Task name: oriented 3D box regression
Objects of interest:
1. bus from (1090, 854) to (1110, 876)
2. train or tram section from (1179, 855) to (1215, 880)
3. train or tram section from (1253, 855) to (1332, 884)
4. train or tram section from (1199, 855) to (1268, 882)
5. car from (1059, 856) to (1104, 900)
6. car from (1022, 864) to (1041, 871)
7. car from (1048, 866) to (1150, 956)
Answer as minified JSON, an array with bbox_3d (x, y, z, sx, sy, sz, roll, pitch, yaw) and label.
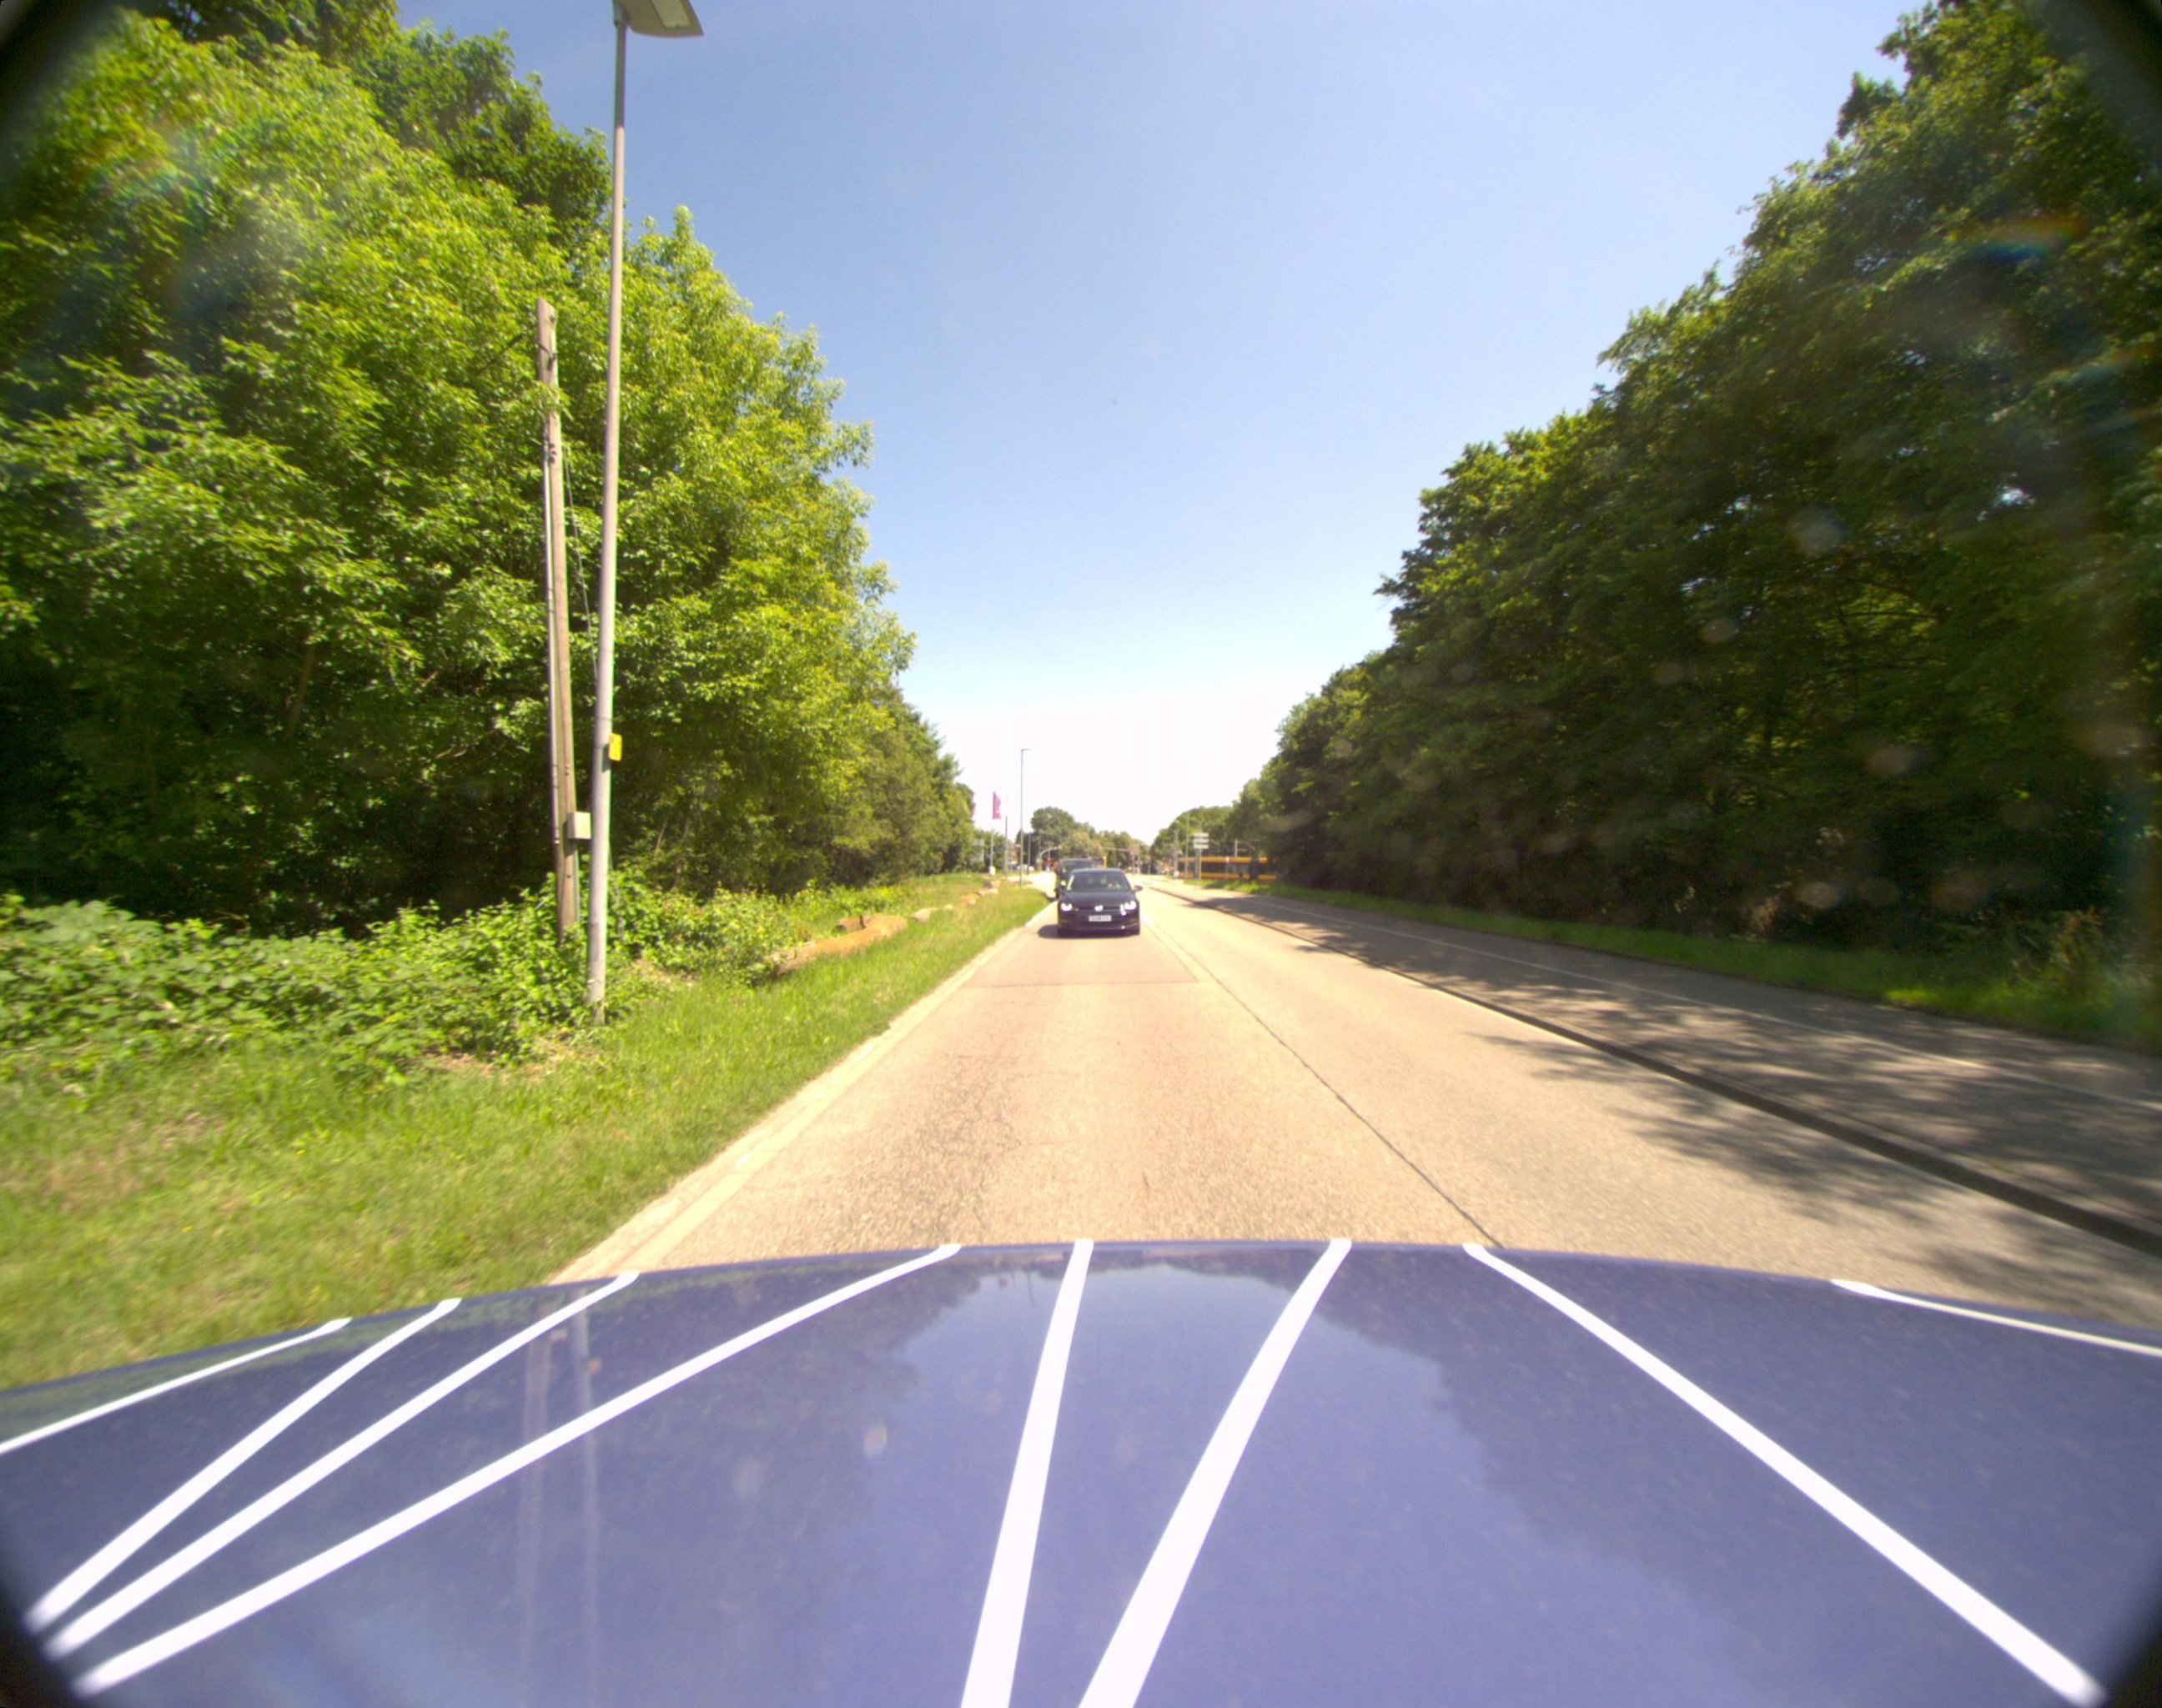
[{"bbox_3d":[2.939,1.728,117.459,2.931,3.247,8.331,1,-1,1],"label":"bus"},{"bbox_3d":[17.160,1.988,113.181,2.579,3.445,10.849,1,-1,-7],"label":"train or tram section"},{"bbox_3d":[26.858,1.930,96.807,9.325,3.445,2.789,0,-1,33],"label":"train or tram section"},{"bbox_3d":[20.576,1.883,103.404,2.656,3.445,10.828,1,-1,-31],"label":"train or tram section"},{"bbox_3d":[-0.046,1.096,36.328,2.002,1.965,4.450,1,-1,-2],"label":"car"},{"bbox_3d":[-13.212,3.574,201.645,4.706,1.770,2.004,0,-1,33],"label":"car"},{"bbox_3d":[0.340,1.126,16.808,1.887,1.667,4.663,-2,-1,0],"label":"car"}]
